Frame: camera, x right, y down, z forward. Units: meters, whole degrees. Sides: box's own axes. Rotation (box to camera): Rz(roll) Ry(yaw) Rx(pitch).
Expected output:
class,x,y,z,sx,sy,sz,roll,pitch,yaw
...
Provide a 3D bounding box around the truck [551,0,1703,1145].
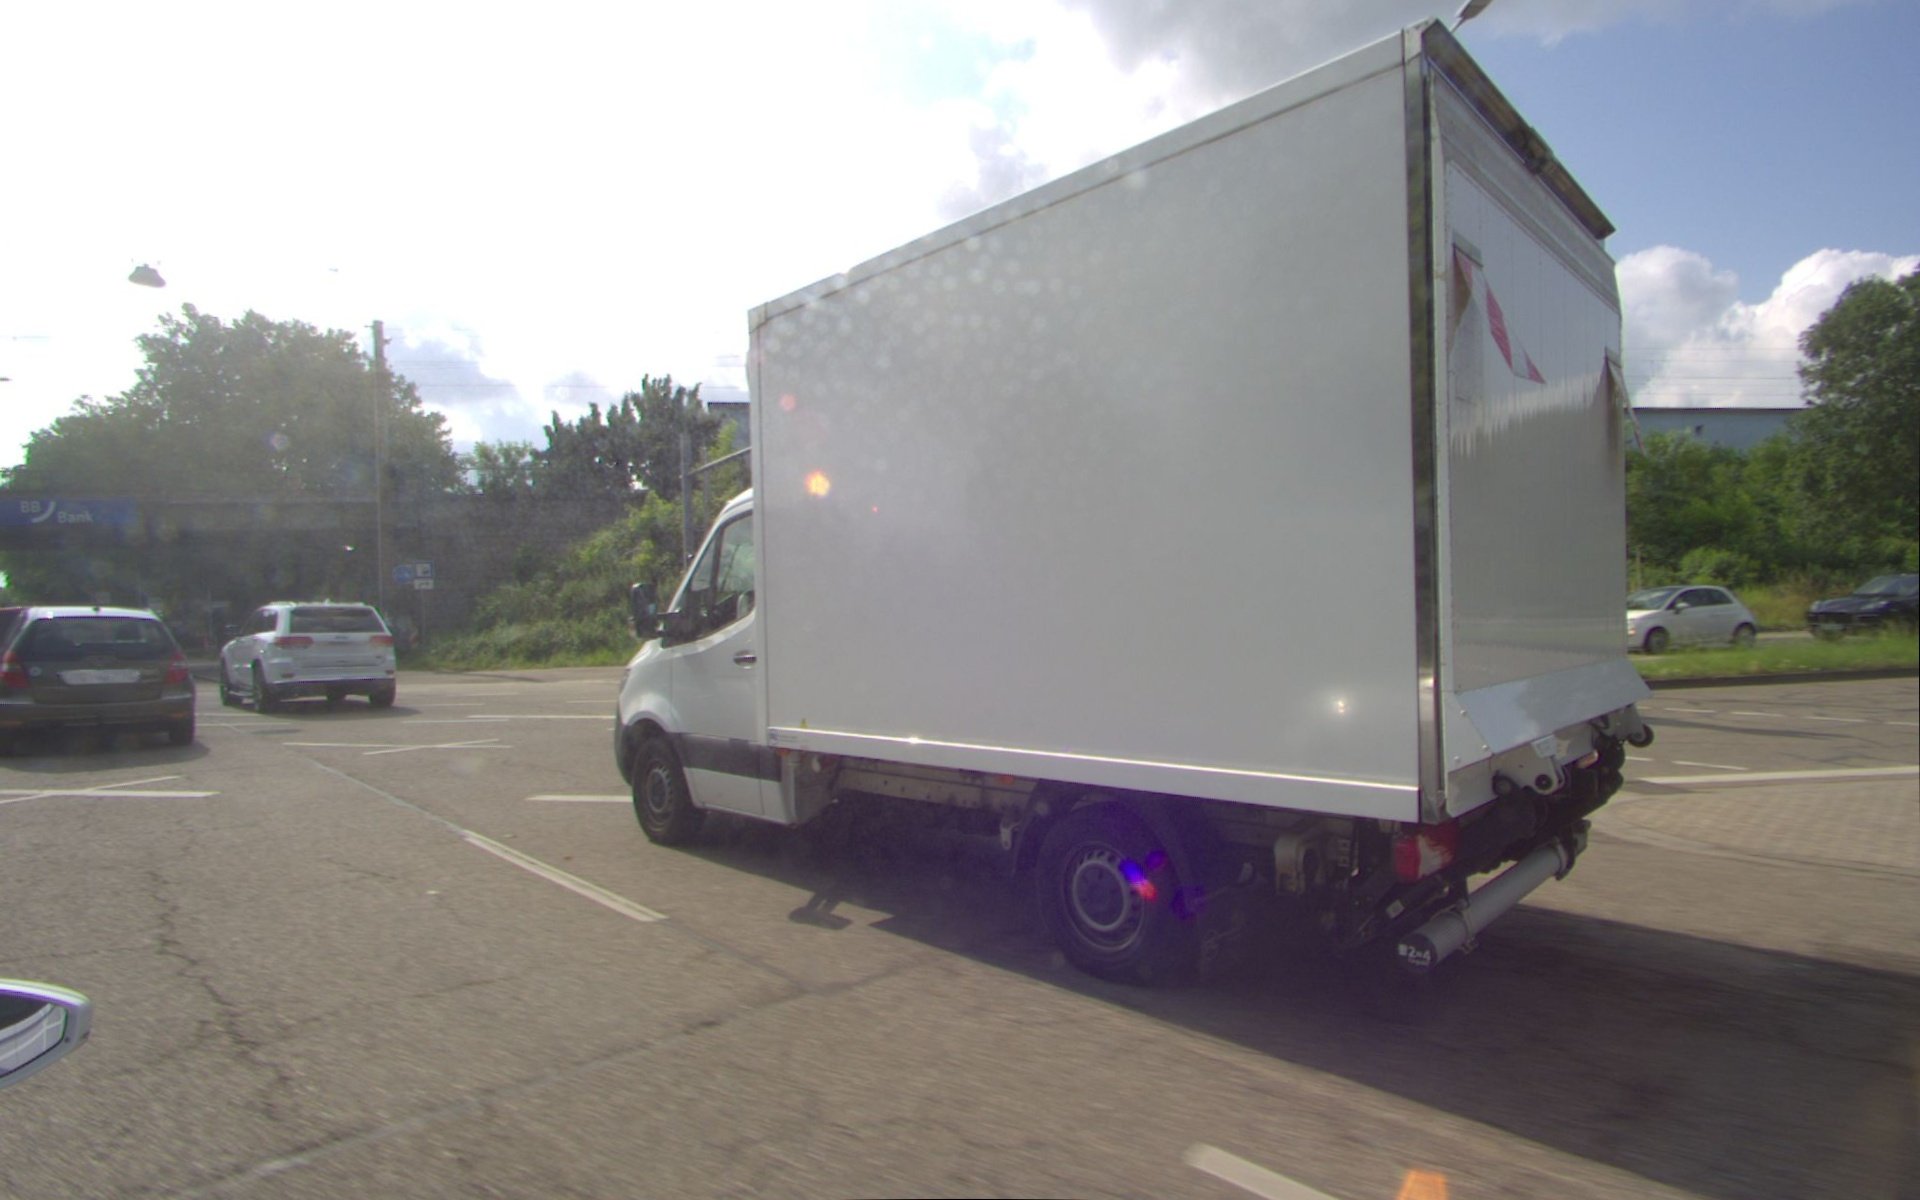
class,x,y,z,sx,sy,sz,roll,pitch,yaw
truck,0.251,-0.075,5.573,5.965,3.162,2.433,-2,-1,44

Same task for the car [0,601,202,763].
class,x,y,z,sx,sy,sz,roll,pitch,yaw
car,-10.428,0.843,11.931,1.780,1.630,3.761,-1,0,-44

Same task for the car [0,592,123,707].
class,x,y,z,sx,sy,sz,roll,pitch,yaw
car,-18.203,0.943,19.993,1.943,2.042,4.630,2,-2,-44

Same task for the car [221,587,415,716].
class,x,y,z,sx,sy,sz,roll,pitch,yaw
car,-11.160,0.829,17.266,1.982,1.926,4.464,1,-2,-44

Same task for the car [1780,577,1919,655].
class,x,y,z,sx,sy,sz,roll,pitch,yaw
car,22.422,0.318,23.734,4.711,1.665,1.819,-3,1,-6

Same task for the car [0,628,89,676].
class,x,y,z,sx,sy,sz,roll,pitch,yaw
car,-31.927,1.793,34.894,1.833,1.541,3.596,-1,-2,-33

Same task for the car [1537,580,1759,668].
class,x,y,z,sx,sy,sz,roll,pitch,yaw
car,15.702,0.513,22.952,3.949,1.772,1.975,-2,0,-10

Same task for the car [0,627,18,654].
class,x,y,z,sx,sy,sz,roll,pitch,yaw
car,-73.893,3.097,77.023,1.943,2.042,4.630,2,-2,-44
